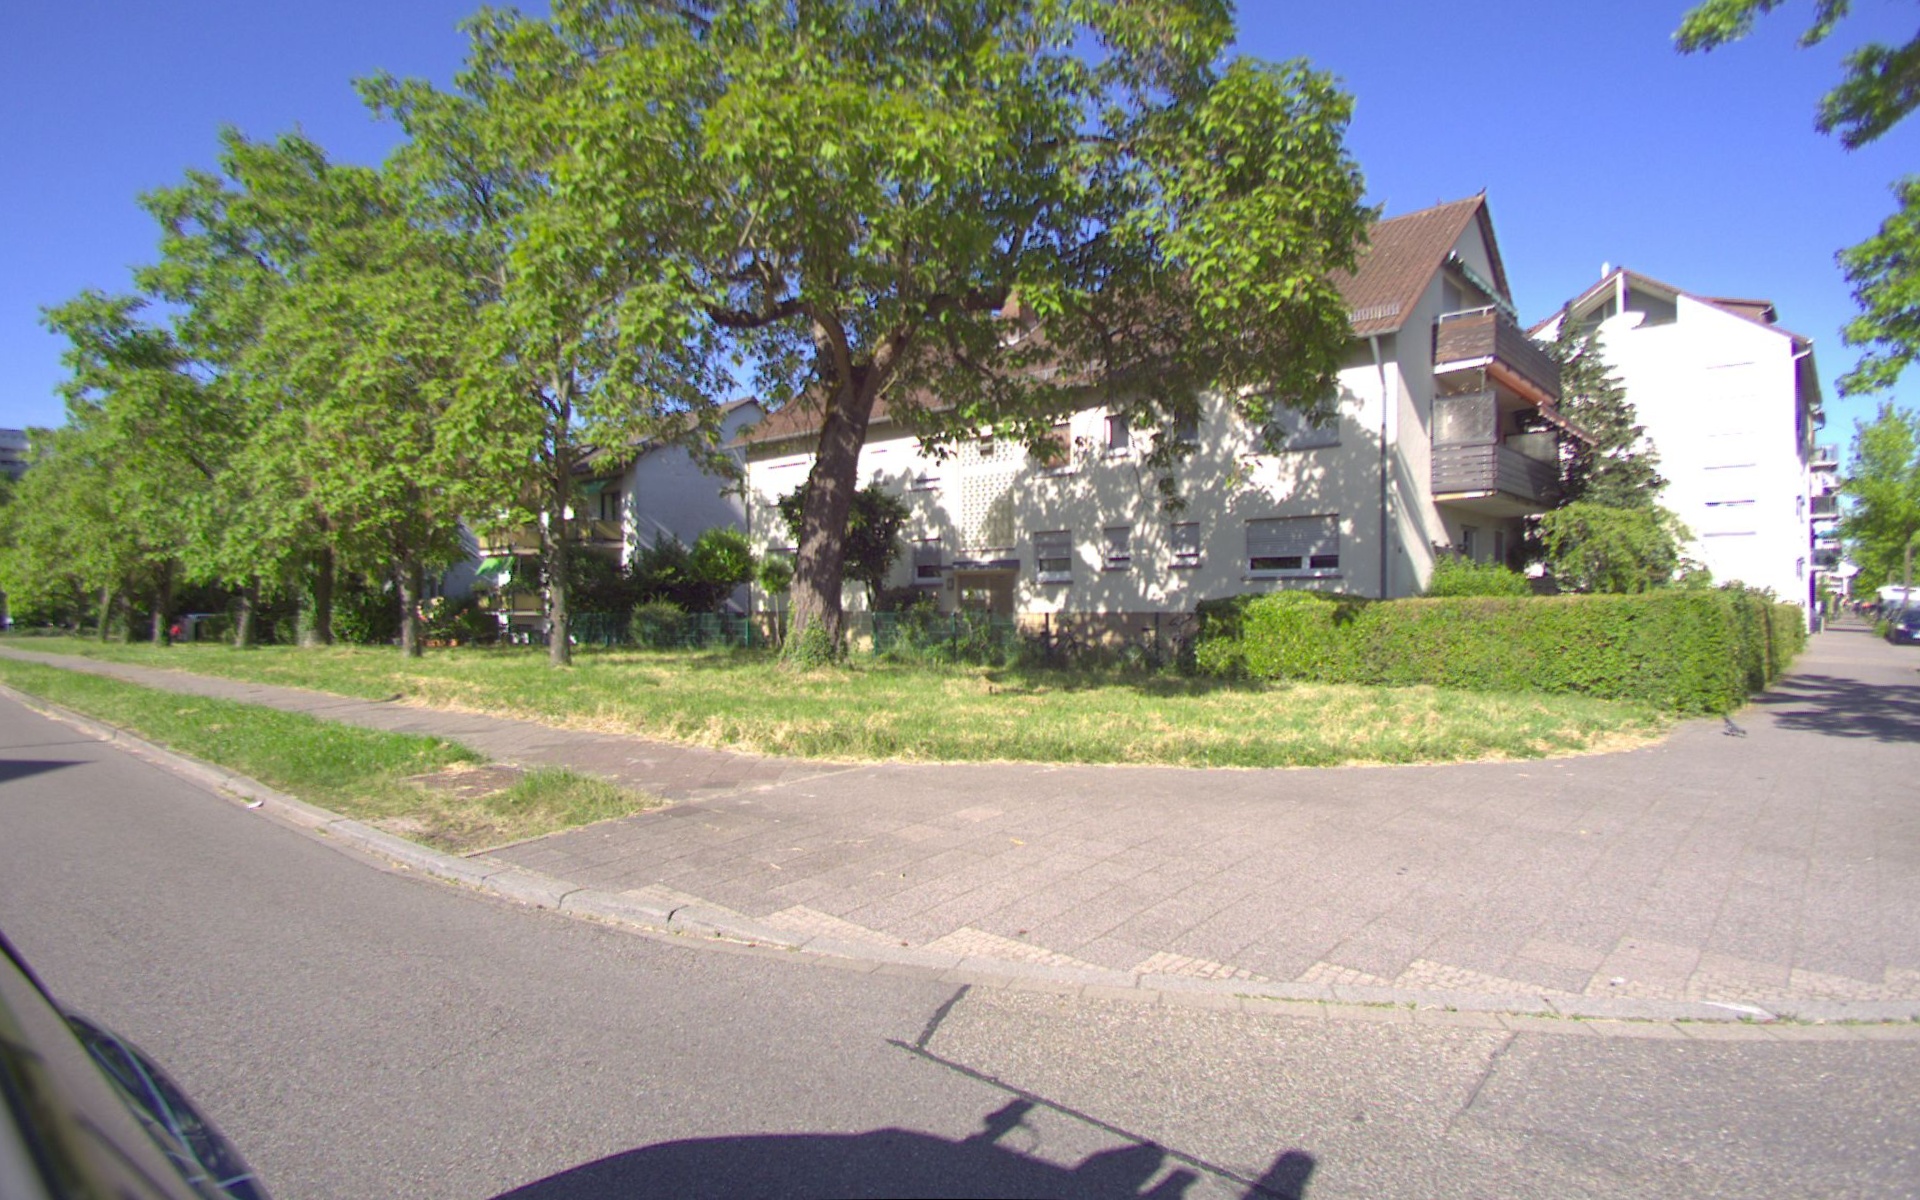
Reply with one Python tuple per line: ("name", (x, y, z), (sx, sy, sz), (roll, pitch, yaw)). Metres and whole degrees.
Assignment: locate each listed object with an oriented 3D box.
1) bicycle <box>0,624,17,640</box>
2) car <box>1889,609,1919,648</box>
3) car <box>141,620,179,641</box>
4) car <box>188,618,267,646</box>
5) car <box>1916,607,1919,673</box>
("bicycle", (-72.616, 2.406, 76.466), (1.875, 1.161, 0.762), (1, 2, -38))
("car", (39.417, 1.145, 41.223), (3.672, 1.560, 1.959), (1, -3, -43))
("car", (-62.912, 2.375, 79.575), (3.884, 1.498, 1.652), (1, 0, 41))
("car", (-54.107, 2.355, 74.794), (2.069, 1.984, 4.401), (-3, -3, 44))
("car", (22.462, 0.890, 22.118), (1.955, 1.560, 3.679), (-3, -3, 39))
